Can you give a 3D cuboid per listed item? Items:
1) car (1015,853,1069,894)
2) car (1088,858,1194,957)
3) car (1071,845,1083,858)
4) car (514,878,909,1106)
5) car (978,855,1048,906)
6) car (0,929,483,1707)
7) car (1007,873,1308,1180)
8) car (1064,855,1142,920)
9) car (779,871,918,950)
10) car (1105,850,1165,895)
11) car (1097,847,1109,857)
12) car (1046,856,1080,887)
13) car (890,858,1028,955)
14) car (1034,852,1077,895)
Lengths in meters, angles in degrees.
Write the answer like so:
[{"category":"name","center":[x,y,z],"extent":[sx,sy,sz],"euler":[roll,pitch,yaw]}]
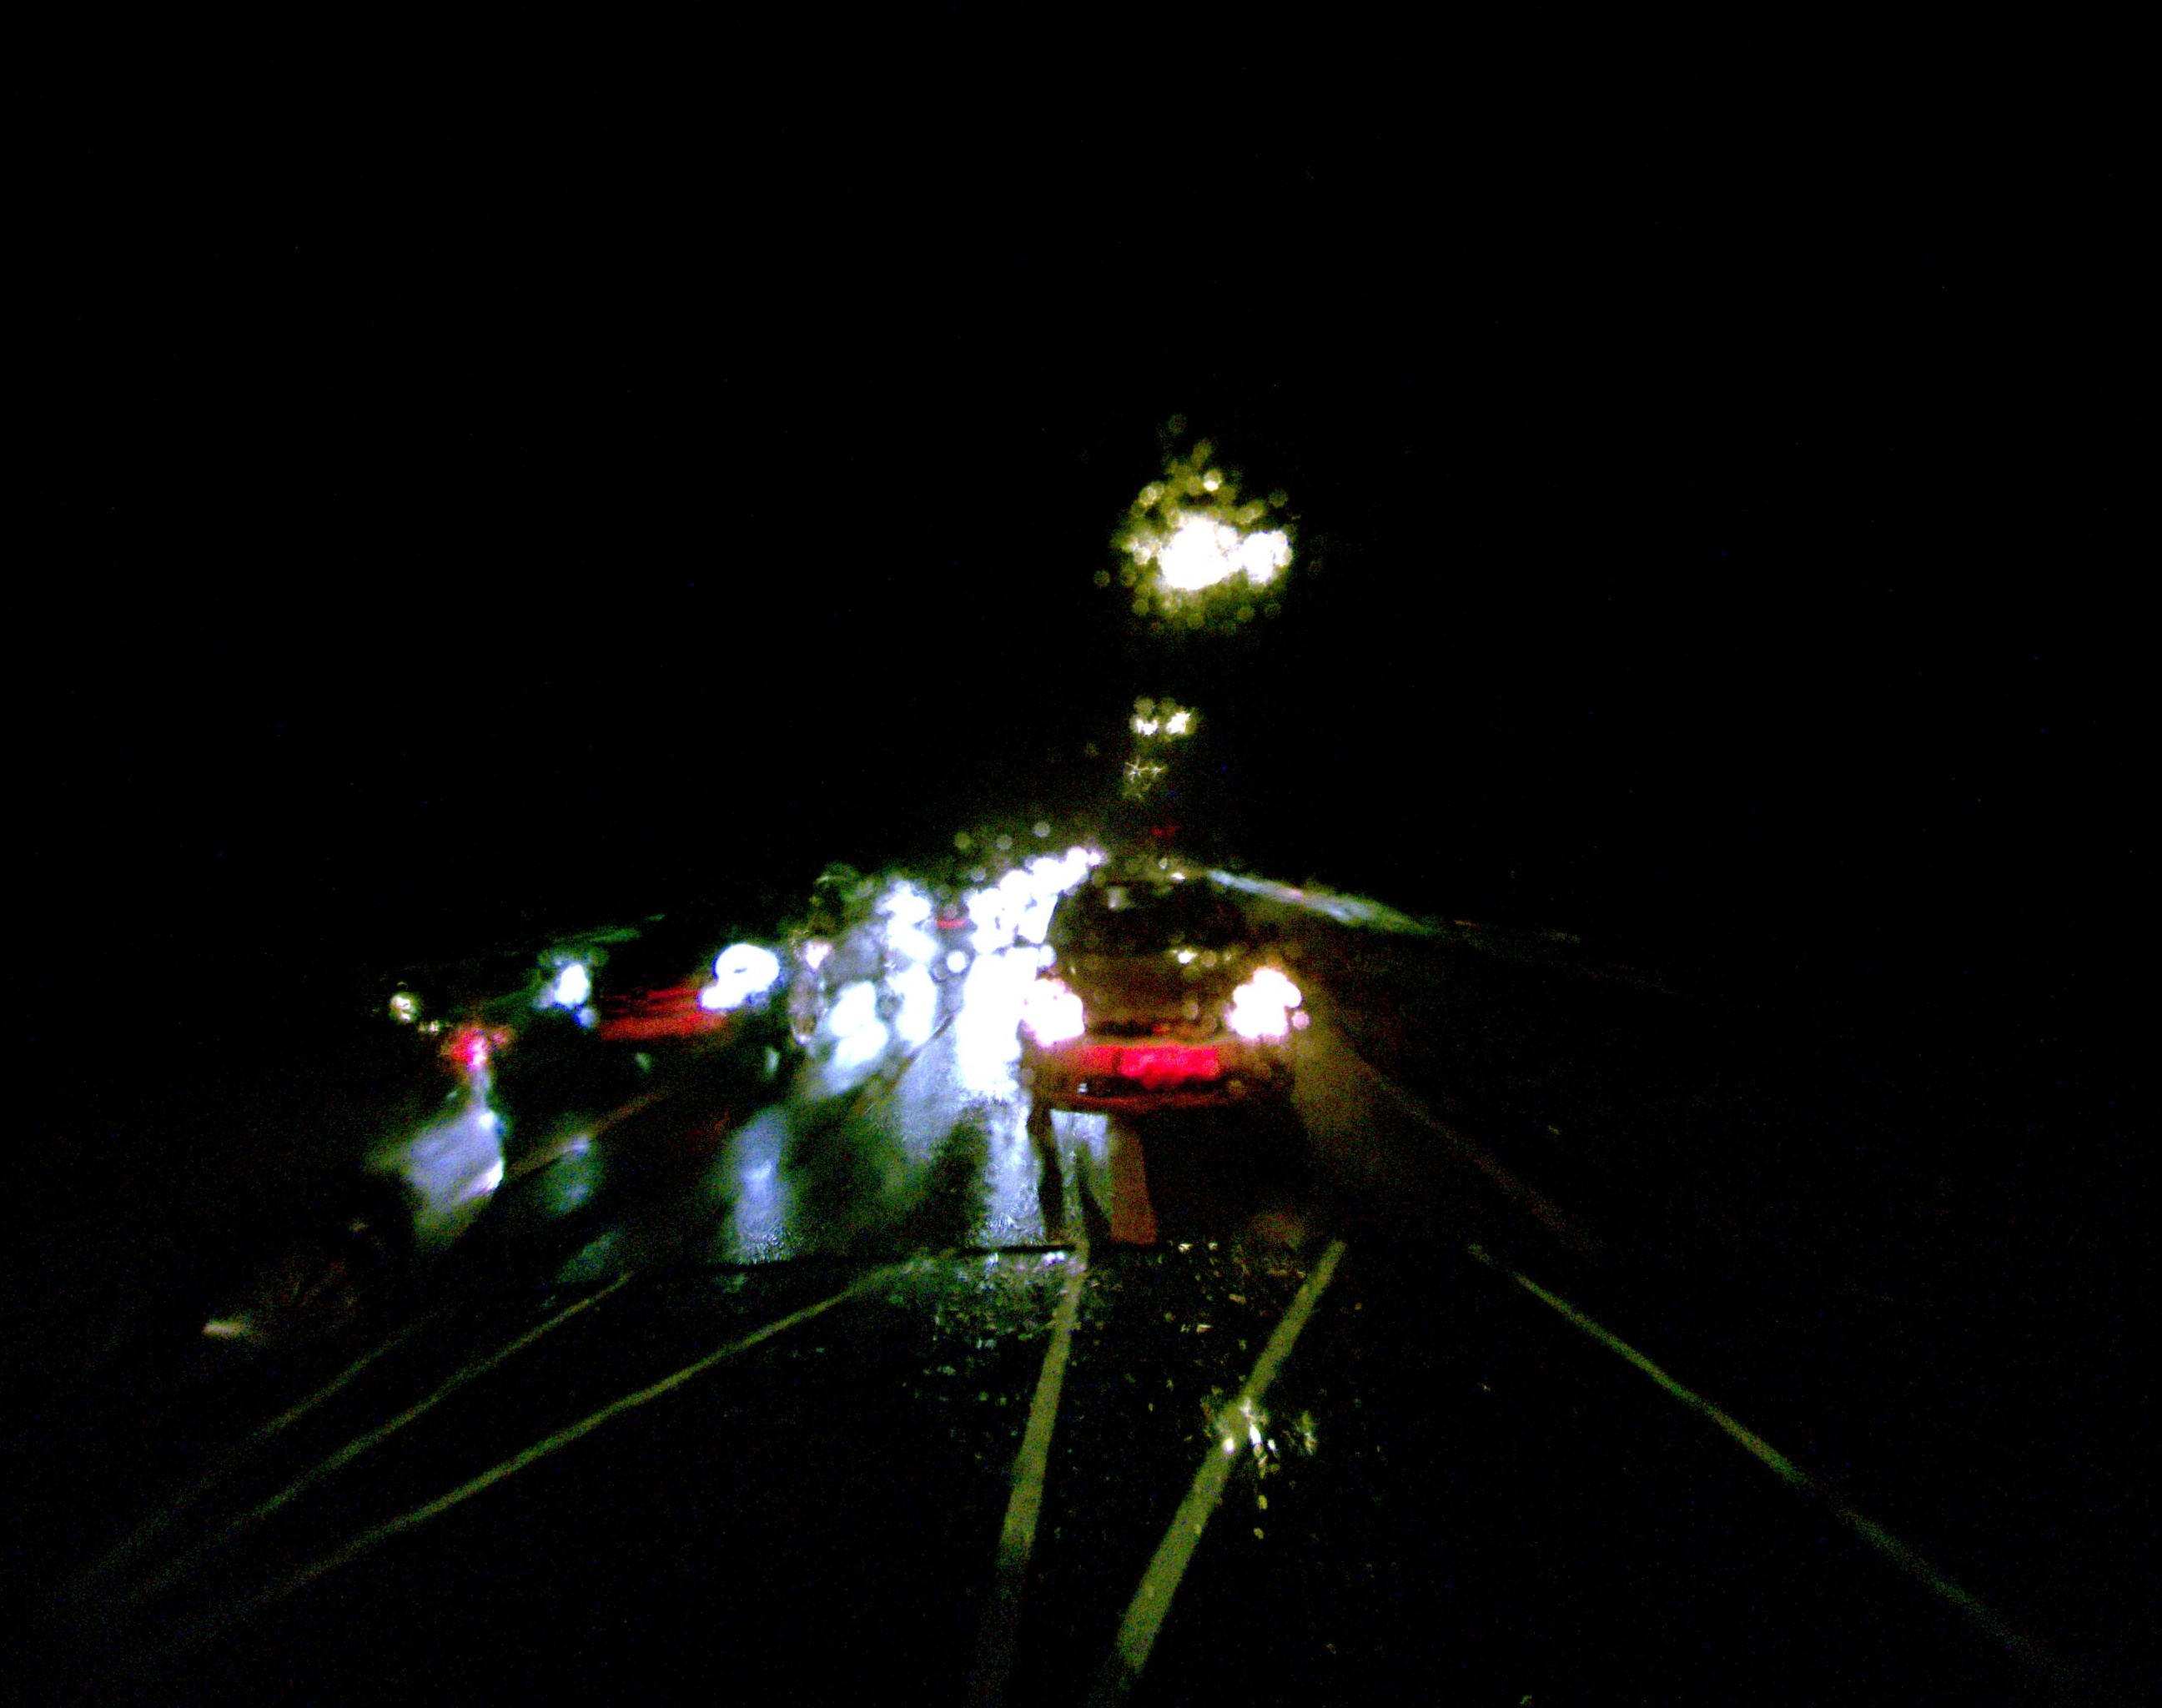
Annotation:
[{"category":"car","center":[-1.617,0.791,32.980],"extent":[1.998,1.589,4.391],"euler":[-1,1,1]},{"category":"car","center":[0.979,0.867,13.845],"extent":[1.606,1.417,3.389],"euler":[-4,1,1]},{"category":"car","center":[-0.701,-0.452,129.560],"extent":[1.998,2.002,3.999],"euler":[-1,1,0]},{"category":"car","center":[-3.131,1.062,7.540],"extent":[1.743,1.409,4.139],"euler":[-2,1,1]},{"category":"car","center":[-2.302,0.873,26.882],"extent":[1.998,1.589,4.391],"euler":[-1,1,1]},{"category":"car","center":[-3.082,1.080,0.517],"extent":[1.711,1.513,4.414],"euler":[-2,1,1]},{"category":"car","center":[0.424,0.951,5.678],"extent":[1.497,1.416,3.389],"euler":[-4,1,1]},{"category":"car","center":[0.580,0.834,20.646],"extent":[1.838,1.417,3.698],"euler":[-4,1,1]},{"category":"car","center":[-5.537,1.282,18.779],"extent":[1.998,1.472,4.337],"euler":[-4,1,0]},{"category":"car","center":[1.981,0.636,28.981],"extent":[1.998,1.497,3.999],"euler":[-2,1,1]},{"category":"car","center":[3.775,-0.281,130.031],"extent":[1.869,1.654,4.000],"euler":[-1,0,2]},{"category":"car","center":[-1.091,1.043,47.769],"extent":[1.998,1.789,4.000],"euler":[-1,0,1]},{"category":"car","center":[-2.278,0.928,15.414],"extent":[1.998,1.589,4.391],"euler":[-1,1,1]},{"category":"car","center":[-1.286,0.969,39.646],"extent":[1.998,2.002,3.999],"euler":[-2,1,1]}]
